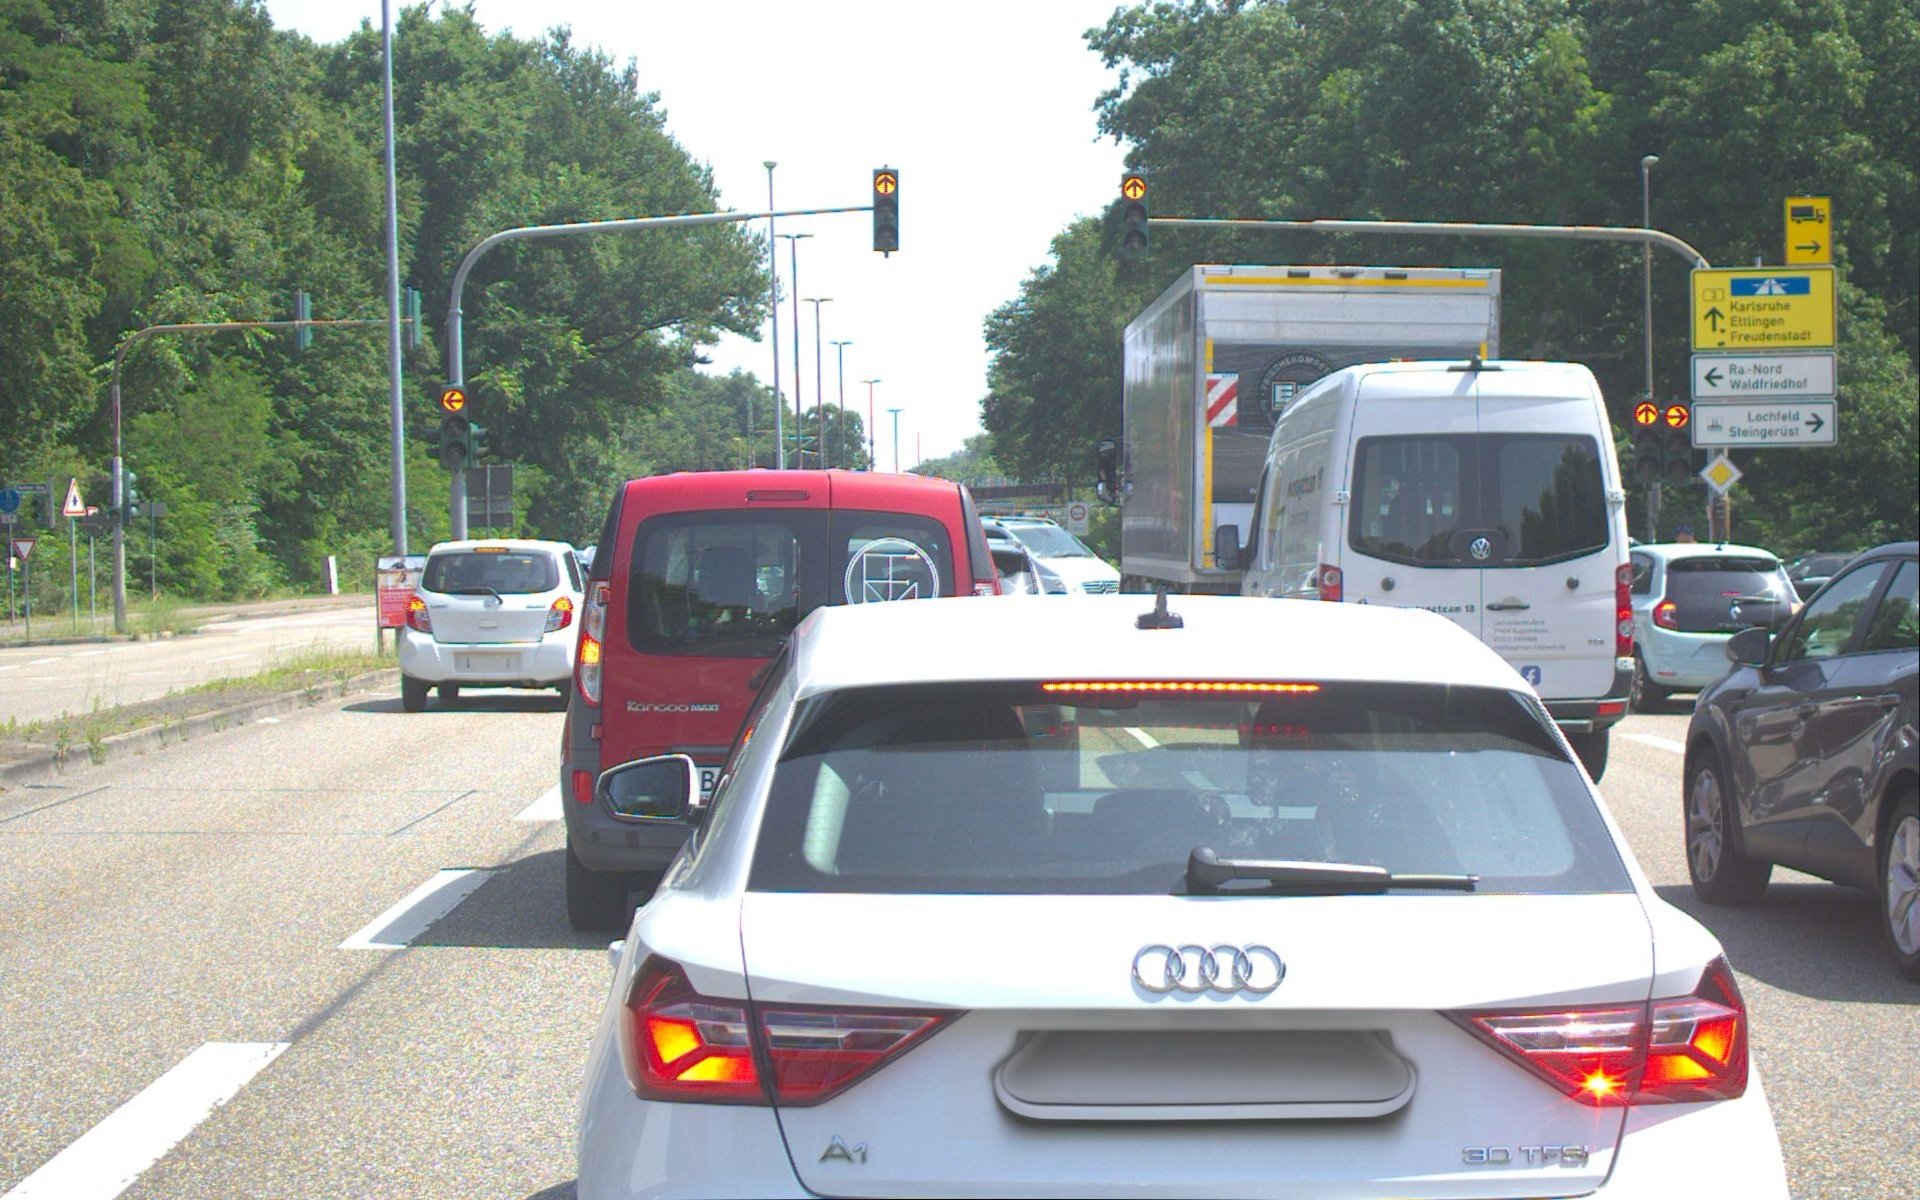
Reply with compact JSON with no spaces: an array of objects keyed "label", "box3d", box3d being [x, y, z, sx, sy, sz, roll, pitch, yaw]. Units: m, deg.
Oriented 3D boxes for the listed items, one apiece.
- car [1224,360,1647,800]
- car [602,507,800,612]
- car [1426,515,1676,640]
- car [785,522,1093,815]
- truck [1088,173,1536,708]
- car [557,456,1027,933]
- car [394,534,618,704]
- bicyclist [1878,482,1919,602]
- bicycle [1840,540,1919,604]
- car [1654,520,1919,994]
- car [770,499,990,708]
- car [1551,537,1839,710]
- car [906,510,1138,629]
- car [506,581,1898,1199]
[{"label":"car","box3d":[3.037,-0.163,23.018,2.031,2.635,4.846,0,1,-2]},{"label":"car","box3d":[-5.213,-0.810,68.739,1.994,2.007,3.999,-2,1,-39]},{"label":"car","box3d":[10.008,-0.385,58.124,3.989,2.007,1.999,-1,1,15]},{"label":"car","box3d":[-0.202,0.341,21.156,1.711,1.626,4.092,0,1,-2]},{"label":"truck","box3d":[3.142,-1.433,34.390,3.088,4.418,11.581,0,1,-1]},{"label":"car","box3d":[-0.697,0.307,14.613,1.711,1.742,4.092,0,1,-2]},{"label":"car","box3d":[-4.165,0.128,32.081,1.711,1.487,4.092,0,1,-2]},{"label":"bicyclist","box3d":[11.605,-0.704,41.465,0.828,1.434,0.598,0,1,44]},{"label":"bicycle","box3d":[11.600,-0.344,41.495,1.826,0.763,0.599,0,1,44]},{"label":"car","box3d":[4.002,0.495,13.140,1.711,1.587,4.092,0,1,-2]},{"label":"car","box3d":[-0.706,-0.012,28.821,1.711,1.626,4.092,0,1,-2]},{"label":"car","box3d":[6.918,0.175,32.740,1.711,1.541,4.092,0,1,-2]},{"label":"car","box3d":[1.073,-0.547,61.132,1.994,2.007,3.999,-2,1,-39]},{"label":"car","box3d":[0.218,0.683,6.267,1.711,1.381,4.092,0,1,-2]}]
